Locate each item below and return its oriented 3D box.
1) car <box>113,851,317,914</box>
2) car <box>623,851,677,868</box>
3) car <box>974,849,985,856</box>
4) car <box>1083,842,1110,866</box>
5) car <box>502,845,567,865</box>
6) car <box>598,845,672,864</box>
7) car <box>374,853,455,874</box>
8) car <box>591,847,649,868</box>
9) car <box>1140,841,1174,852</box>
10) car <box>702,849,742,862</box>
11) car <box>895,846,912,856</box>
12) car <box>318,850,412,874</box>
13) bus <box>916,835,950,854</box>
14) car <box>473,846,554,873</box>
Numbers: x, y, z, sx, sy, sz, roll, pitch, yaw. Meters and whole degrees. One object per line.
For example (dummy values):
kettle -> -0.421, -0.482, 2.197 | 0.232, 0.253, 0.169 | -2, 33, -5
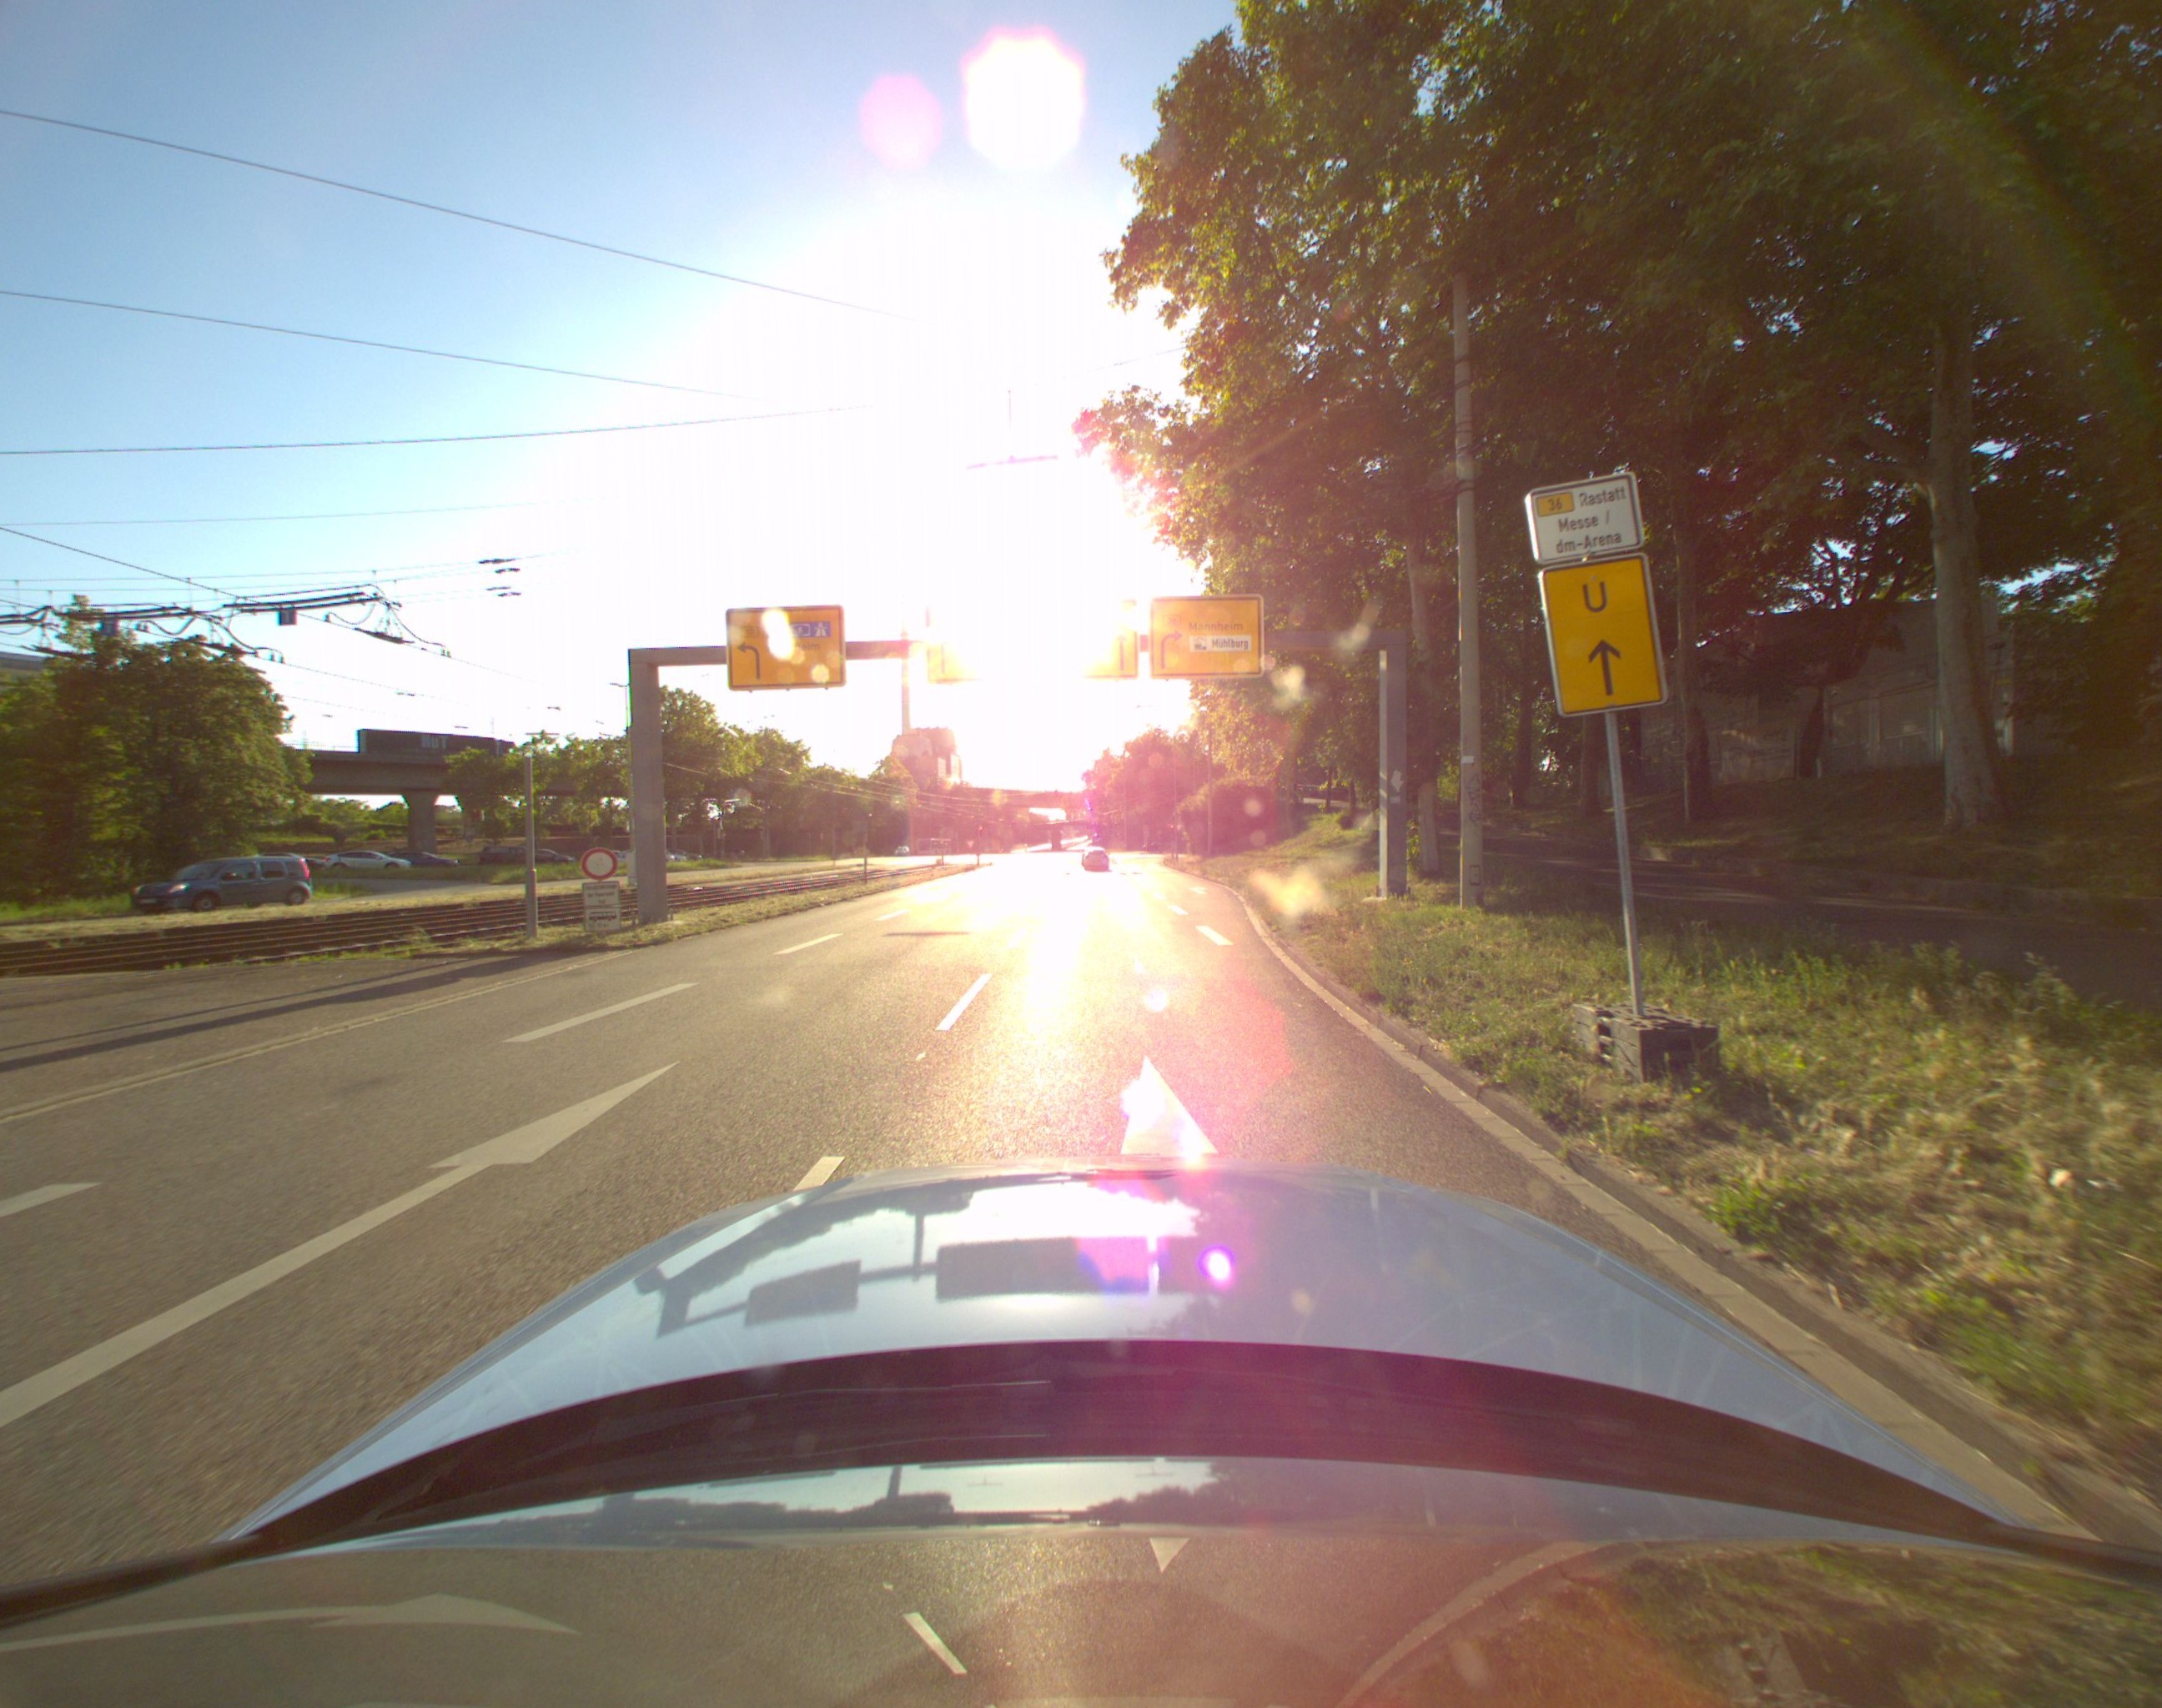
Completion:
car -> -28.096, 0.859, 26.677 | 1.925, 1.787, 4.263 | -1, 1, 3
car -> -38.991, 0.469, 73.775 | 4.205, 1.404, 1.656 | -1, 1, -27
car -> -21.371, -0.403, 172.017 | 1.600, 1.419, 4.011 | 0, 1, 3
car -> 1.039, -0.007, 55.388 | 1.731, 1.505, 4.000 | -1, 1, 0
car -> -44.860, 0.086, 66.964 | 4.257, 1.574, 1.679 | -1, 1, -26
car -> -38.337, 0.035, 70.189 | 5.372, 1.574, 1.728 | -1, 1, -23
car -> -51.865, 0.716, 63.459 | 4.639, 1.458, 1.678 | -1, 1, -30
car -> -37.685, 0.261, 66.676 | 4.007, 1.574, 1.680 | -1, 1, -25
car -> 11.021, -1.136, 117.826 | 4.585, 1.574, 1.685 | 0, 1, -16
car -> -44.028, 0.170, 99.904 | 3.971, 1.505, 1.743 | -1, 1, 2
car -> -26.055, -0.463, 119.441 | 1.602, 1.512, 4.007 | 0, 1, -1
car -> -51.763, 0.550, 58.989 | 4.780, 1.574, 1.678 | -1, 0, -29
bus -> -25.116, -1.548, 139.041 | 2.532, 3.130, 12.930 | -1, 0, 4
car -> -43.931, 0.395, 63.203 | 4.958, 1.991, 2.018 | -1, 1, -29
